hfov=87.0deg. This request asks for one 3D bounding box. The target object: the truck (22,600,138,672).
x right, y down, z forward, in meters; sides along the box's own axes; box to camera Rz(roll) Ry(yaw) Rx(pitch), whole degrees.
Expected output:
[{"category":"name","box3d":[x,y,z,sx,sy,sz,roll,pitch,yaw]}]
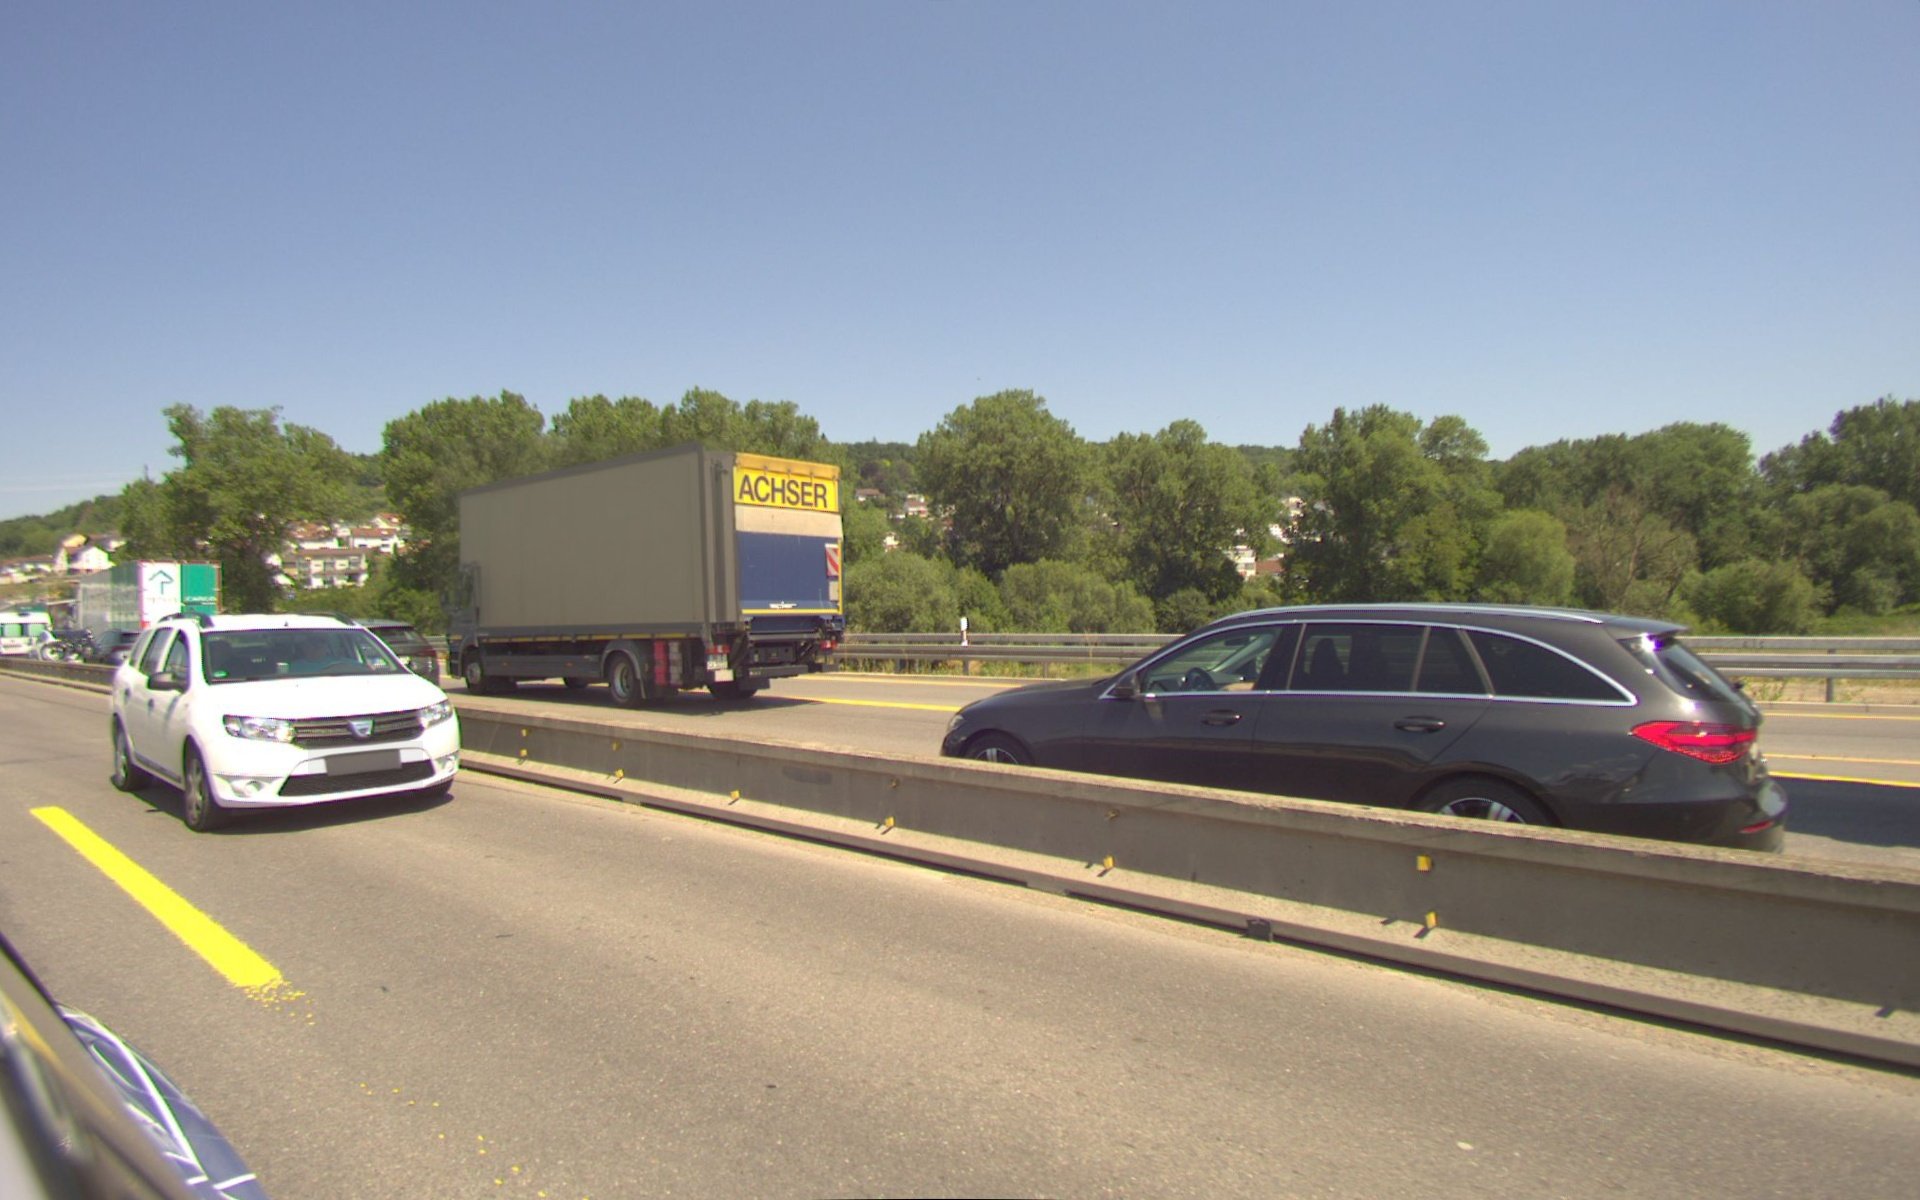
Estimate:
[{"category":"truck","box3d":[-51.677,2.126,59.349,8.342,3.793,2.881,-4,-1,33]}]

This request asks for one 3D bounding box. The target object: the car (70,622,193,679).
[{"category":"car","box3d":[-23.538,1.392,28.666,5.122,1.443,1.863,-2,-1,41]}]

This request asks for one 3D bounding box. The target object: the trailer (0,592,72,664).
[{"category":"trailer","box3d":[-64.189,2.056,69.625,13.014,4.499,3.069,-4,-3,42]}]

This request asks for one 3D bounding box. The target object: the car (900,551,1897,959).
[{"category":"car","box3d":[2.052,0.607,5.930,4.927,1.454,1.819,-2,-1,41]}]

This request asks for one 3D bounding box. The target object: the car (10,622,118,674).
[{"category":"car","box3d":[-33.741,1.836,38.058,5.778,1.739,2.347,-4,-2,41]}]

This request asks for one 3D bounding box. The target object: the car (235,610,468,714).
[{"category":"car","box3d":[-10.306,1.003,16.977,4.900,1.505,1.840,-2,-3,40]}]

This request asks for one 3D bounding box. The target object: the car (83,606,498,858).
[{"category":"car","box3d":[-5.828,0.871,8.528,4.705,1.542,1.799,-2,-1,42]}]

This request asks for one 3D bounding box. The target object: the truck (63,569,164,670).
[{"category":"truck","box3d":[-40.222,1.002,48.029,6.222,4.426,2.777,-4,-2,42]}]

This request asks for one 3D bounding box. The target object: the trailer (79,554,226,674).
[{"category":"trailer","box3d":[-34.551,0.720,42.990,13.163,4.464,2.785,-3,-2,42]}]

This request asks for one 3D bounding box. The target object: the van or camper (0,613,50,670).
[{"category":"van or camper","box3d":[-45.152,2.040,48.009,6.529,2.531,2.196,-4,-2,41]}]

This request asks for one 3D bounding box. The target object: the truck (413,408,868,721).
[{"category":"truck","box3d":[-6.162,-0.350,17.873,10.074,4.184,2.773,-2,-1,41]}]
